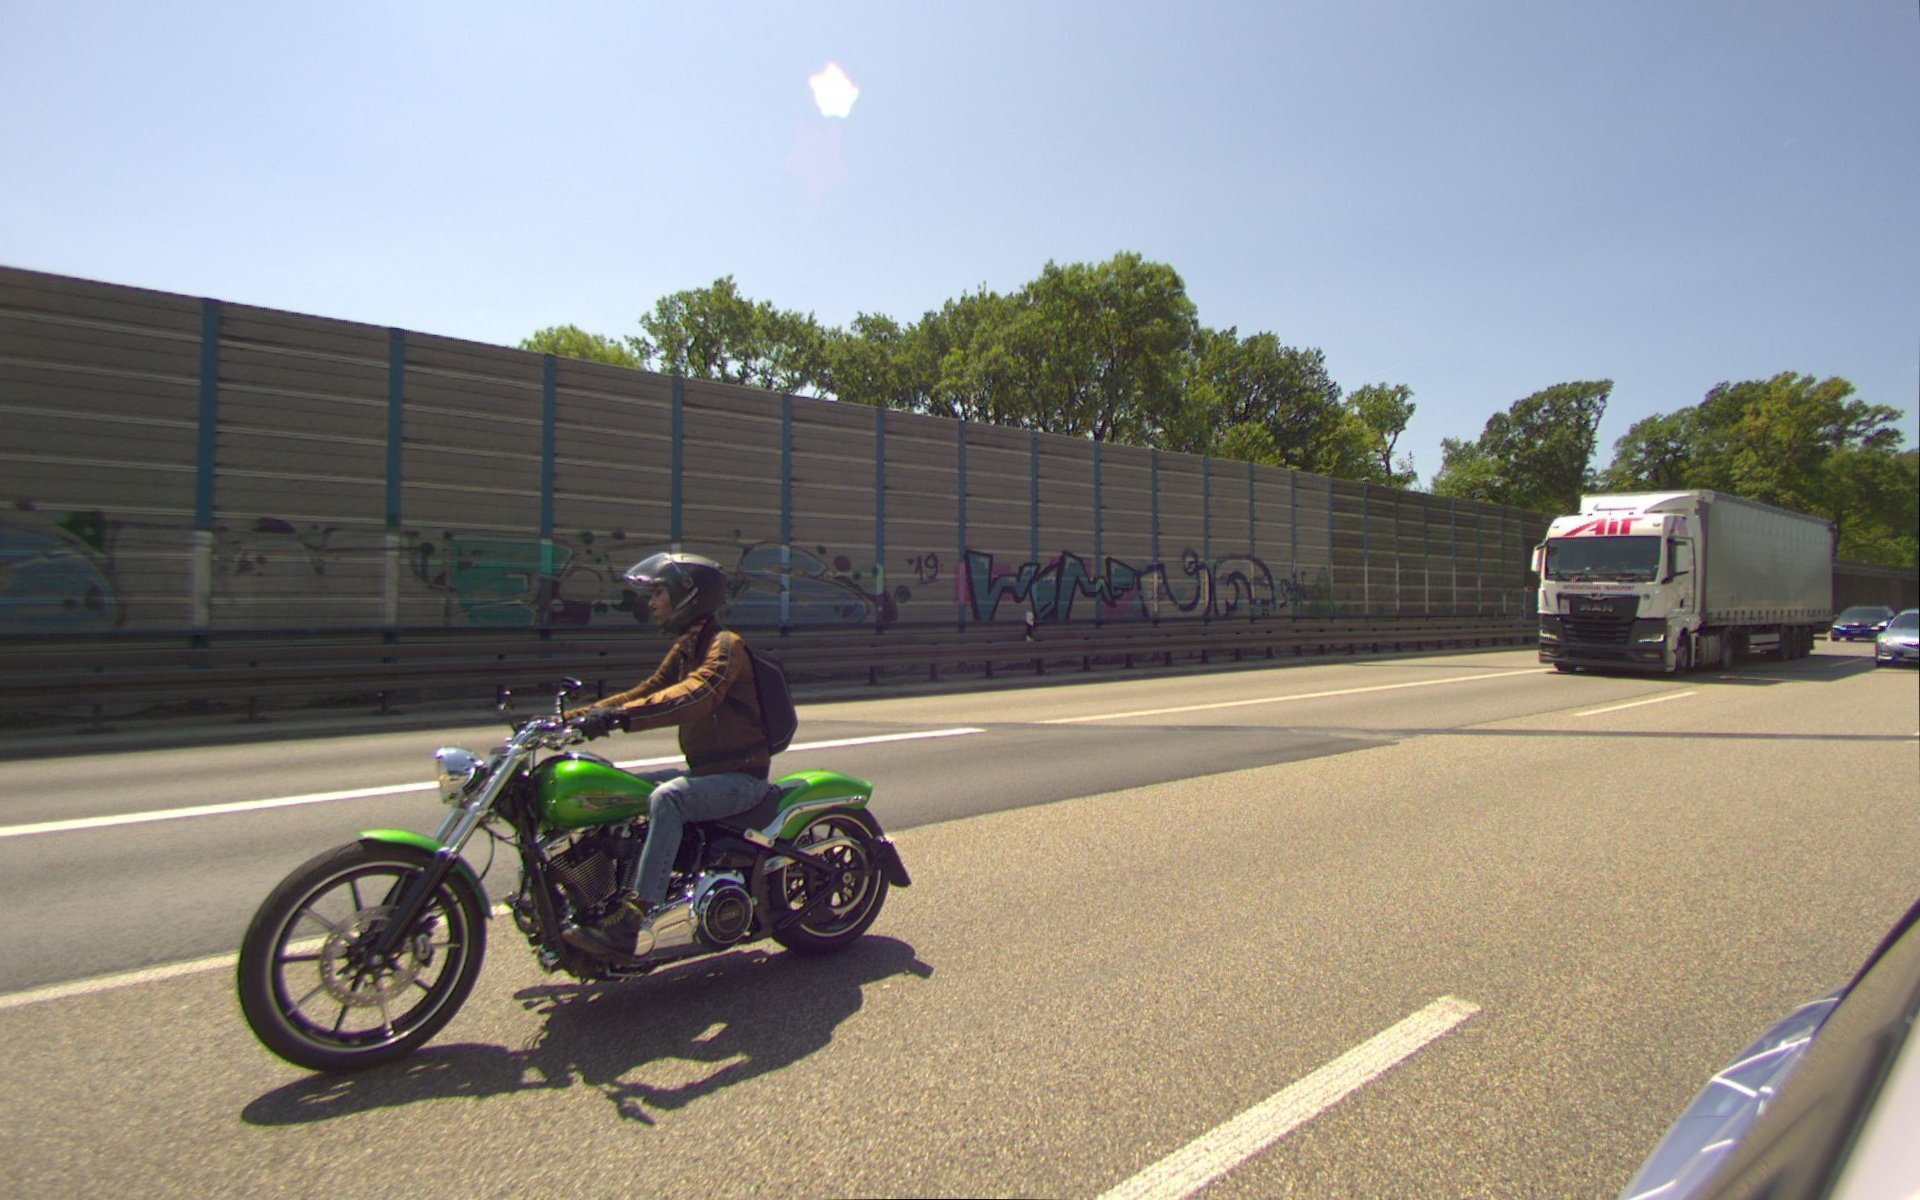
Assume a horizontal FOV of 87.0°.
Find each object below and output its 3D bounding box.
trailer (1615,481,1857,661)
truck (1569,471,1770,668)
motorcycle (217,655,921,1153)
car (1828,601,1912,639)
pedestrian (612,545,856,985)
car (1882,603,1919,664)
[{"bbox_3d":[22.267,-0.722,28.531,13.350,4.142,2.603,0,0,-40],"label":"trailer"},{"bbox_3d":[16.907,-0.673,24.002,5.454,4.142,2.603,0,0,-40],"label":"truck"},{"bbox_3d":[-1.295,0.847,3.679,2.235,1.197,0.861,1,-1,-38],"label":"motorcycle"},{"bbox_3d":[37.786,0.794,41.987,4.099,1.512,1.861,0,0,-37],"label":"car"},{"bbox_3d":[-0.906,0.563,3.986,0.626,1.497,0.853,1,-1,-38],"label":"pedestrian"},{"bbox_3d":[24.697,0.803,25.188,4.099,1.452,1.861,0,0,-37],"label":"car"}]
